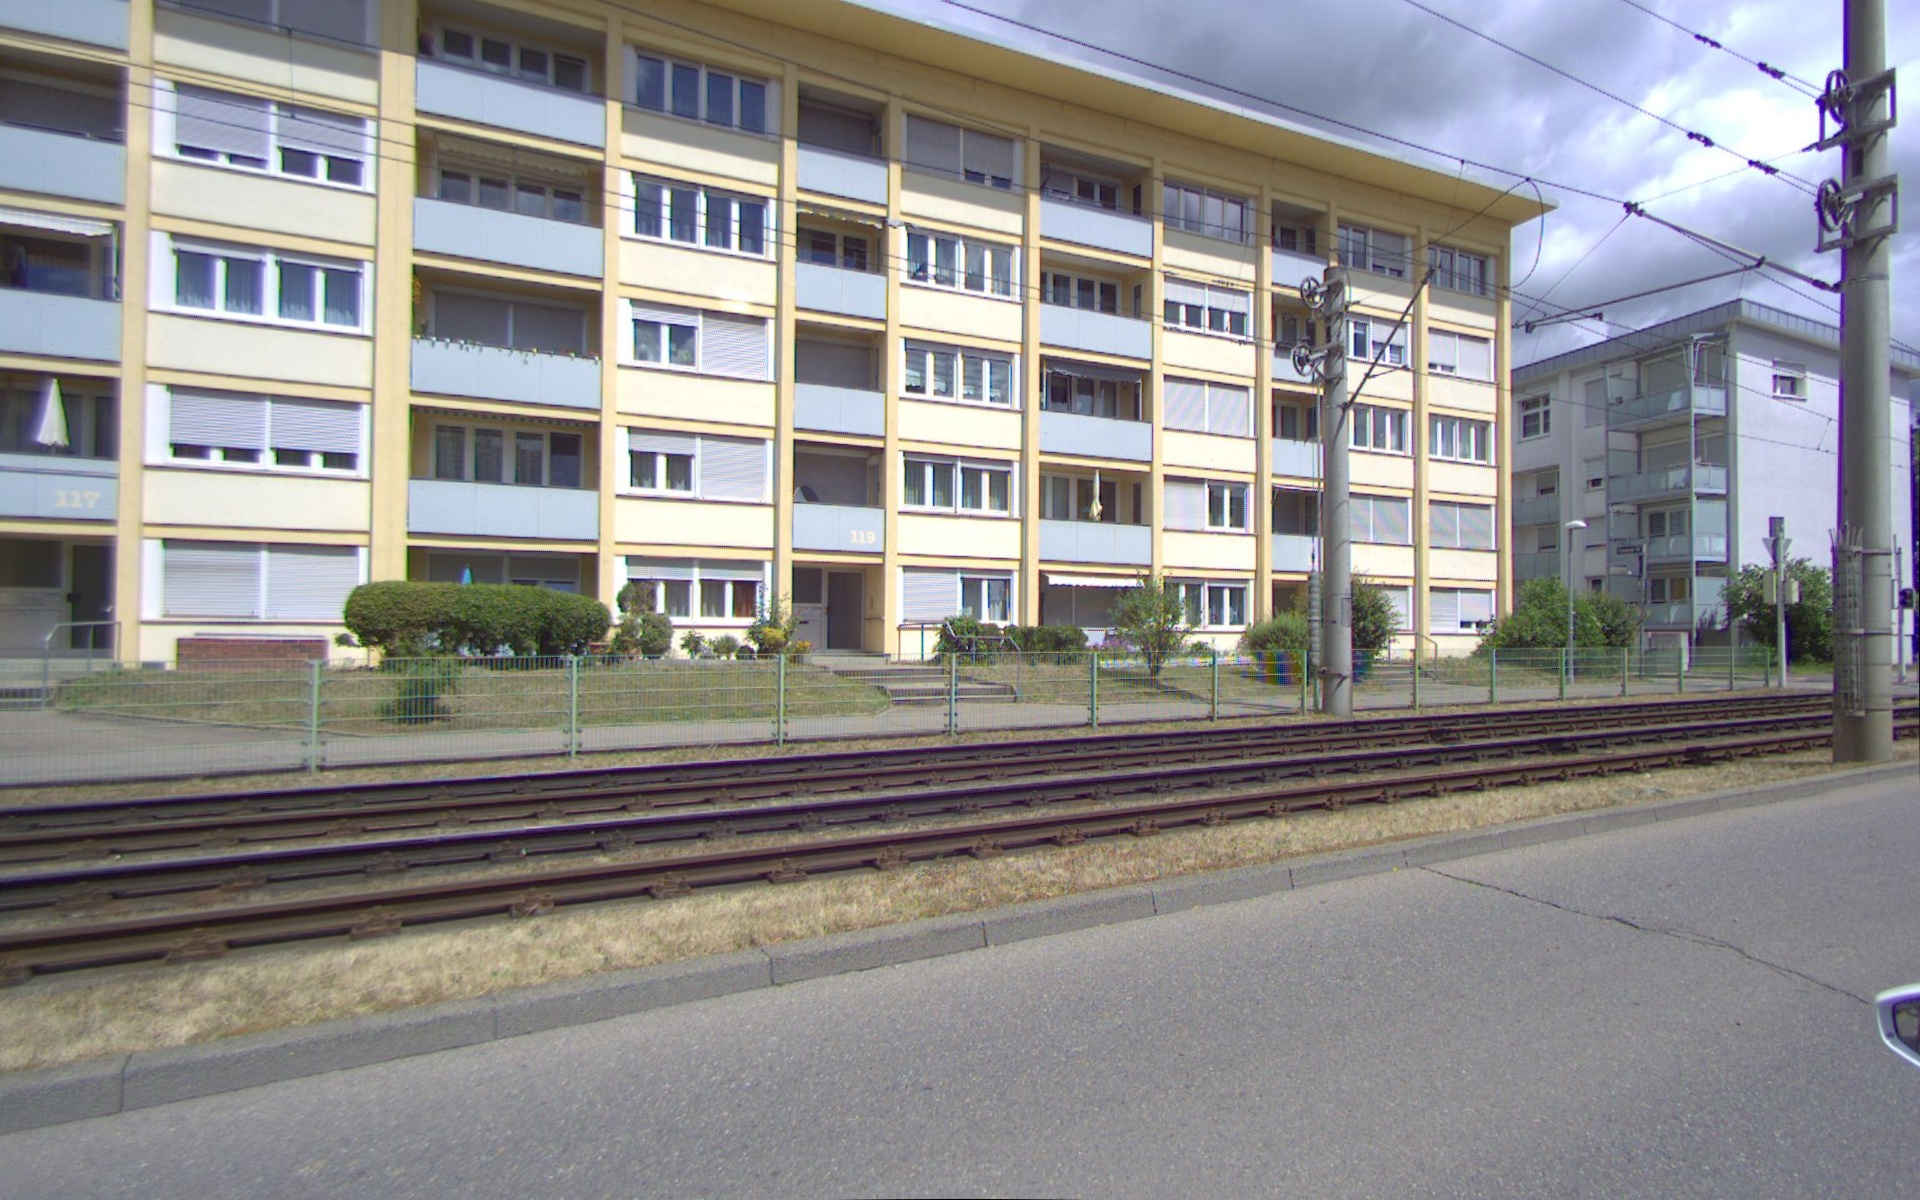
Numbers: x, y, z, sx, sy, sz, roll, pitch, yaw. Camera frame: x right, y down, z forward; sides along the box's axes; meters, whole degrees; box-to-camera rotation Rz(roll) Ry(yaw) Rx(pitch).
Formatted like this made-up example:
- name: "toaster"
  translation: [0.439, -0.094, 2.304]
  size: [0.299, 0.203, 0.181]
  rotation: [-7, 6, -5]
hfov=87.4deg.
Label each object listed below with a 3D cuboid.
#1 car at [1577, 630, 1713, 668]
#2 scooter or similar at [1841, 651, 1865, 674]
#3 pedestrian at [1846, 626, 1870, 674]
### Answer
- name: "car"
  translation: [26.348, 1.848, 38.790]
  size: [1.873, 1.363, 3.980]
  rotation: [1, -2, -21]
- name: "scooter or similar"
  translation: [29.995, 2.095, 33.743]
  size: [0.468, 0.757, 0.436]
  rotation: [1, -1, -25]
- name: "pedestrian"
  translation: [30.401, 1.680, 34.001]
  size: [0.468, 1.601, 0.436]
  rotation: [1, -1, -25]
